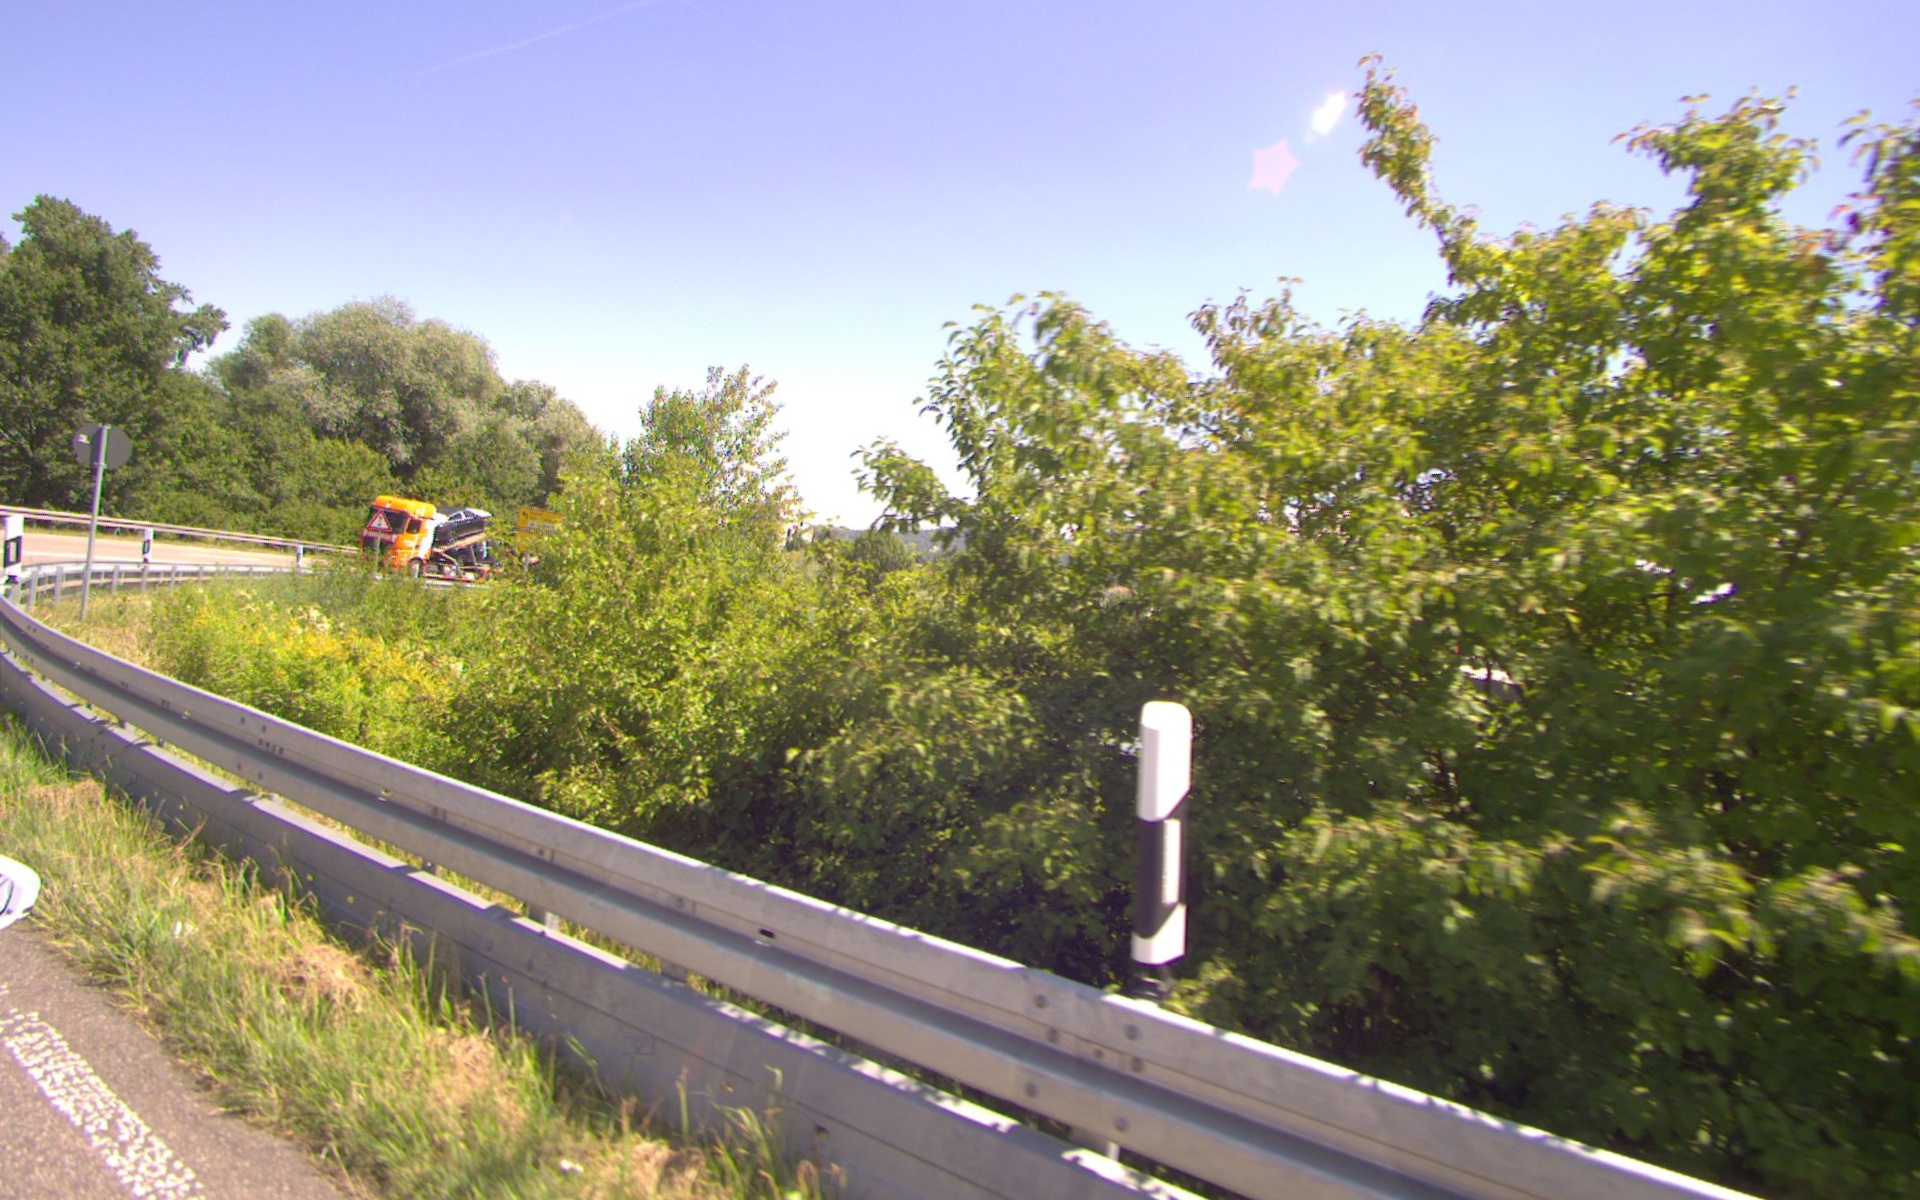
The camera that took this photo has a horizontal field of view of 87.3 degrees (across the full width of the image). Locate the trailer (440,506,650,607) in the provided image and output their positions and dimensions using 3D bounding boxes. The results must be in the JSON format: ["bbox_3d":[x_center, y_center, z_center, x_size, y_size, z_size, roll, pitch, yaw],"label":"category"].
[{"bbox_3d":[-25.089,-2.407,62.339,2.750,3.940,14.005,10,-2,21],"label":"trailer"}]

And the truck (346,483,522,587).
[{"bbox_3d":[-27.745,-3.250,53.705,2.746,3.940,8.794,10,-2,13],"label":"truck"}]
